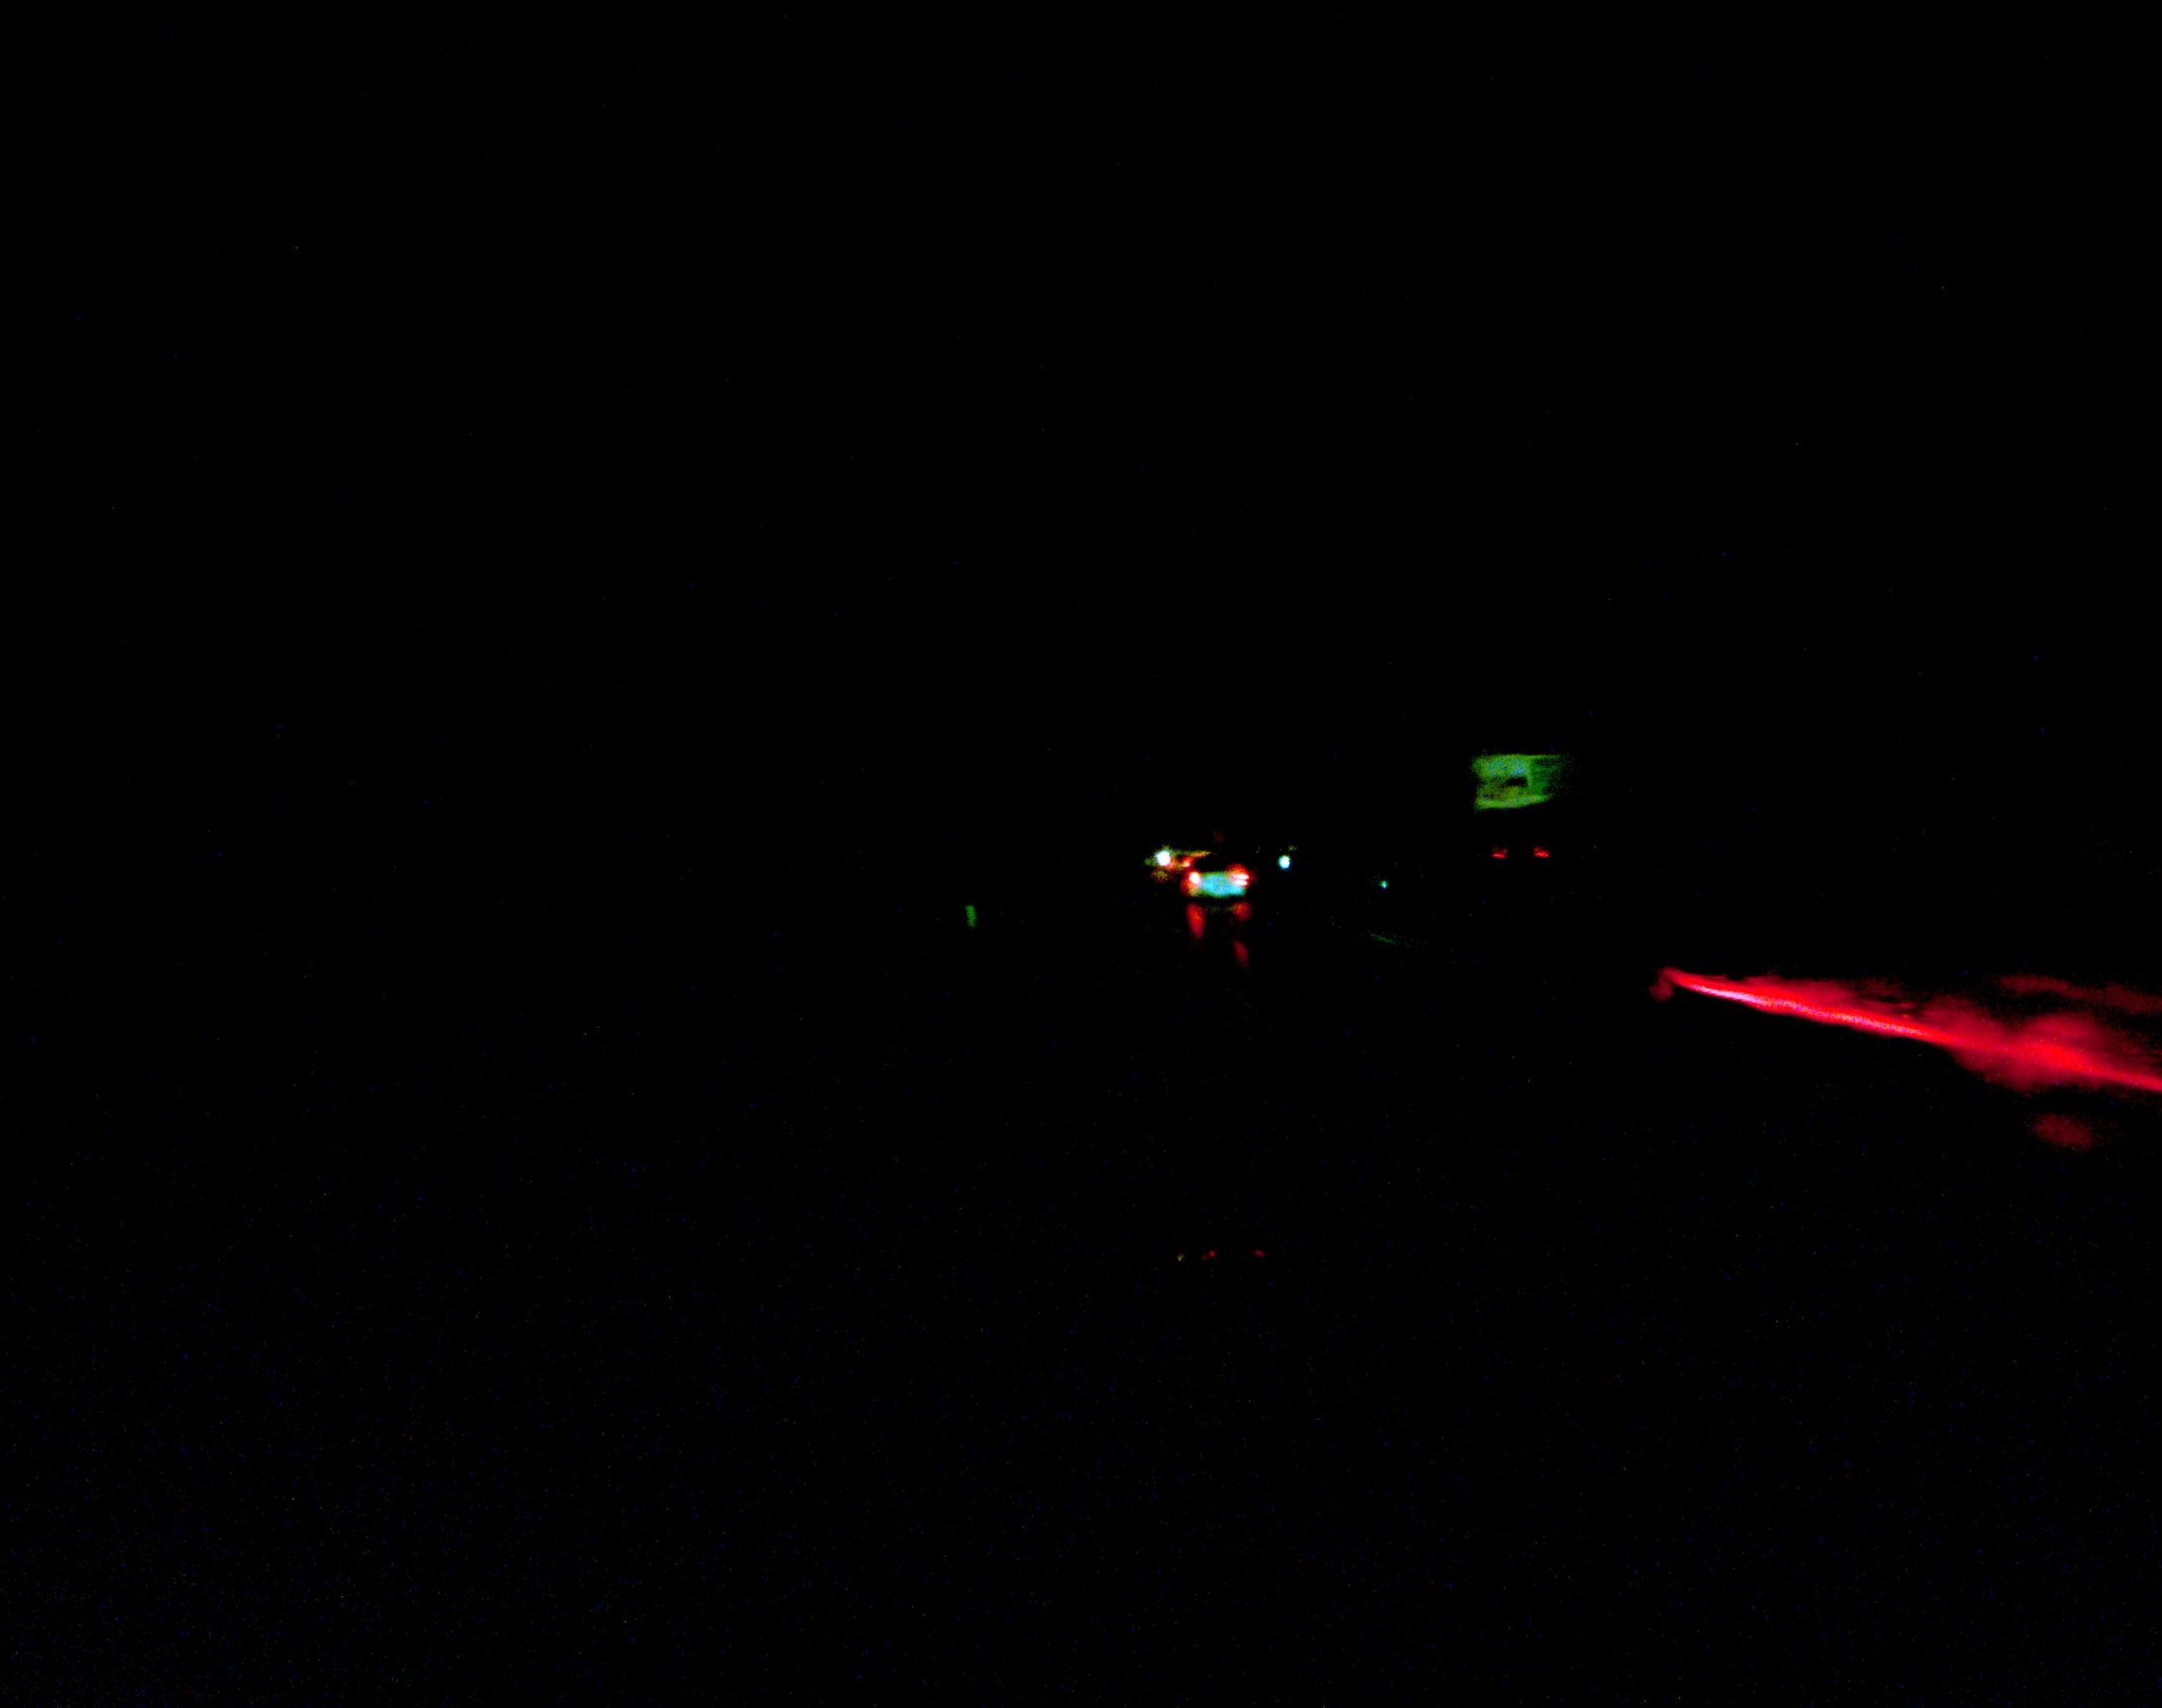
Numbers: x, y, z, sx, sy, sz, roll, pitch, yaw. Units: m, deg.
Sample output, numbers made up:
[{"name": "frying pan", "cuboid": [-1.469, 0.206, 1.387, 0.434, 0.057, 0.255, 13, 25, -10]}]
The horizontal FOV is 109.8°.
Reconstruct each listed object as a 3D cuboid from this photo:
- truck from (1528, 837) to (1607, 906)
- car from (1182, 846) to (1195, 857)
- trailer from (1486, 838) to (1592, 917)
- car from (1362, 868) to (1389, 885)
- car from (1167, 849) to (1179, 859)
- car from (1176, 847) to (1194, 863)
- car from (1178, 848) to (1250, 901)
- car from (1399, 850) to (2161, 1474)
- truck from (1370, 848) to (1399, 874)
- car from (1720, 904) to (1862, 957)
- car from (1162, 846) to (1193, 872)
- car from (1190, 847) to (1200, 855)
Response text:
[{"name": "truck", "cuboid": [36.609, 1.219, 57.065, 7.333, 4.768, 3.329, -3, 1, -44]}, {"name": "car", "cuboid": [14.928, -0.346, 105.545, 1.789, 1.470, 3.682, -2, 1, 7]}, {"name": "trailer", "cuboid": [31.801, 1.417, 52.450, 11.577, 4.768, 3.329, -2, 1, -44]}, {"name": "car", "cuboid": [32.430, 2.472, 83.746, 1.811, 1.666, 4.295, -2, 1, 8]}, {"name": "car", "cuboid": [15.785, 0.002, 130.696, 1.823, 1.565, 4.109, -2, 1, 9]}, {"name": "car", "cuboid": [11.508, 0.138, 84.390, 1.812, 1.666, 4.294, -2, 1, 5]}, {"name": "car", "cuboid": [4.386, 0.623, 25.698, 1.793, 1.613, 4.376, -1, 1, 2]}, {"name": "car", "cuboid": [3.466, 0.796, 4.048, 1.821, 1.550, 4.178, -2, 1, 1]}, {"name": "truck", "cuboid": [43.725, 0.954, 109.649, 2.760, 3.462, 8.113, -2, 0, 14]}, {"name": "car", "cuboid": [29.049, 3.076, 31.300, 1.813, 1.666, 4.292, -2, 1, 0]}, {"name": "car", "cuboid": [7.260, 0.341, 57.524, 1.998, 1.795, 4.597, -2, 1, 4]}, {"name": "car", "cuboid": [20.803, -0.534, 138.409, 1.638, 1.511, 3.773, 0, 1, 13]}]
